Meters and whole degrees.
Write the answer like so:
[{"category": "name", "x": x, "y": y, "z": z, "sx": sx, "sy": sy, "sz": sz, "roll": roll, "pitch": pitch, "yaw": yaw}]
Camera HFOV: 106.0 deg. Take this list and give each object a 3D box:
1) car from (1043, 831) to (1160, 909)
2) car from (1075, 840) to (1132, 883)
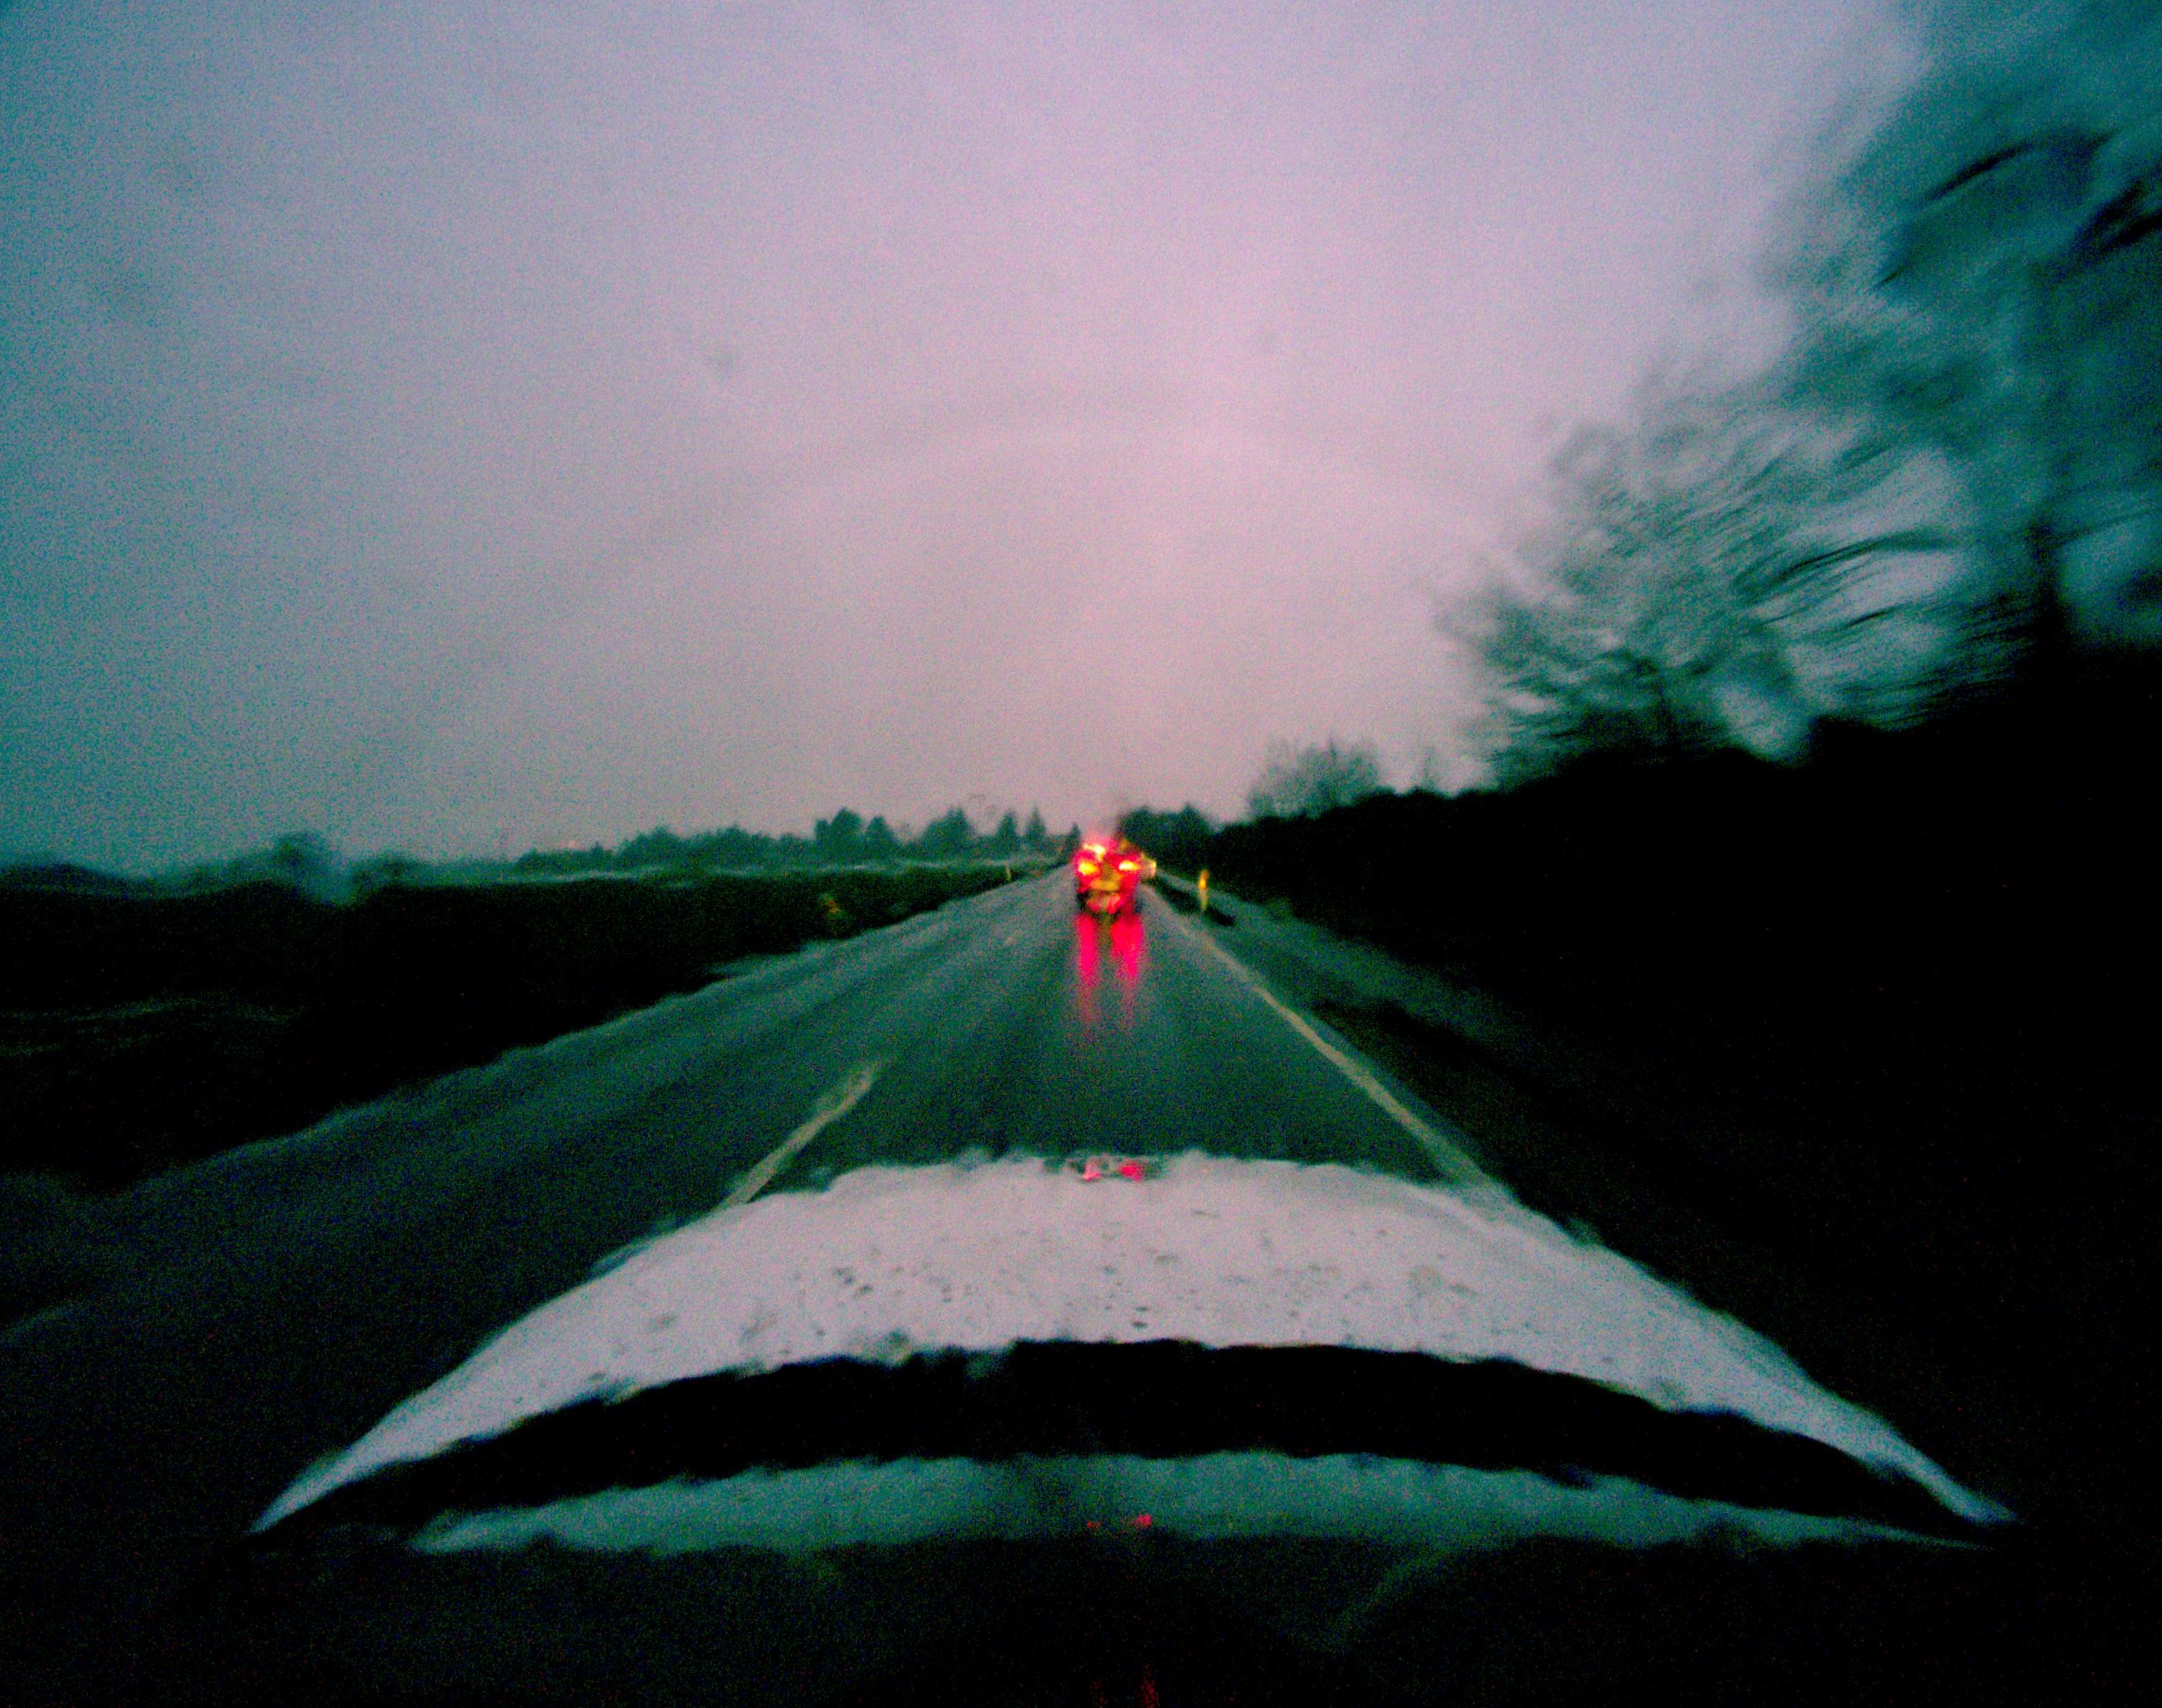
[{"category": "car", "x": 0.703, "y": 0.414, "z": 25.900, "sx": 3.152, "sy": 2.035, "sz": 6.855, "roll": -2, "pitch": 0, "yaw": 2}, {"category": "car", "x": 1.245, "y": 0.367, "z": 44.028, "sx": 2.745, "sy": 2.035, "sz": 6.594, "roll": -2, "pitch": 0, "yaw": 2}]
